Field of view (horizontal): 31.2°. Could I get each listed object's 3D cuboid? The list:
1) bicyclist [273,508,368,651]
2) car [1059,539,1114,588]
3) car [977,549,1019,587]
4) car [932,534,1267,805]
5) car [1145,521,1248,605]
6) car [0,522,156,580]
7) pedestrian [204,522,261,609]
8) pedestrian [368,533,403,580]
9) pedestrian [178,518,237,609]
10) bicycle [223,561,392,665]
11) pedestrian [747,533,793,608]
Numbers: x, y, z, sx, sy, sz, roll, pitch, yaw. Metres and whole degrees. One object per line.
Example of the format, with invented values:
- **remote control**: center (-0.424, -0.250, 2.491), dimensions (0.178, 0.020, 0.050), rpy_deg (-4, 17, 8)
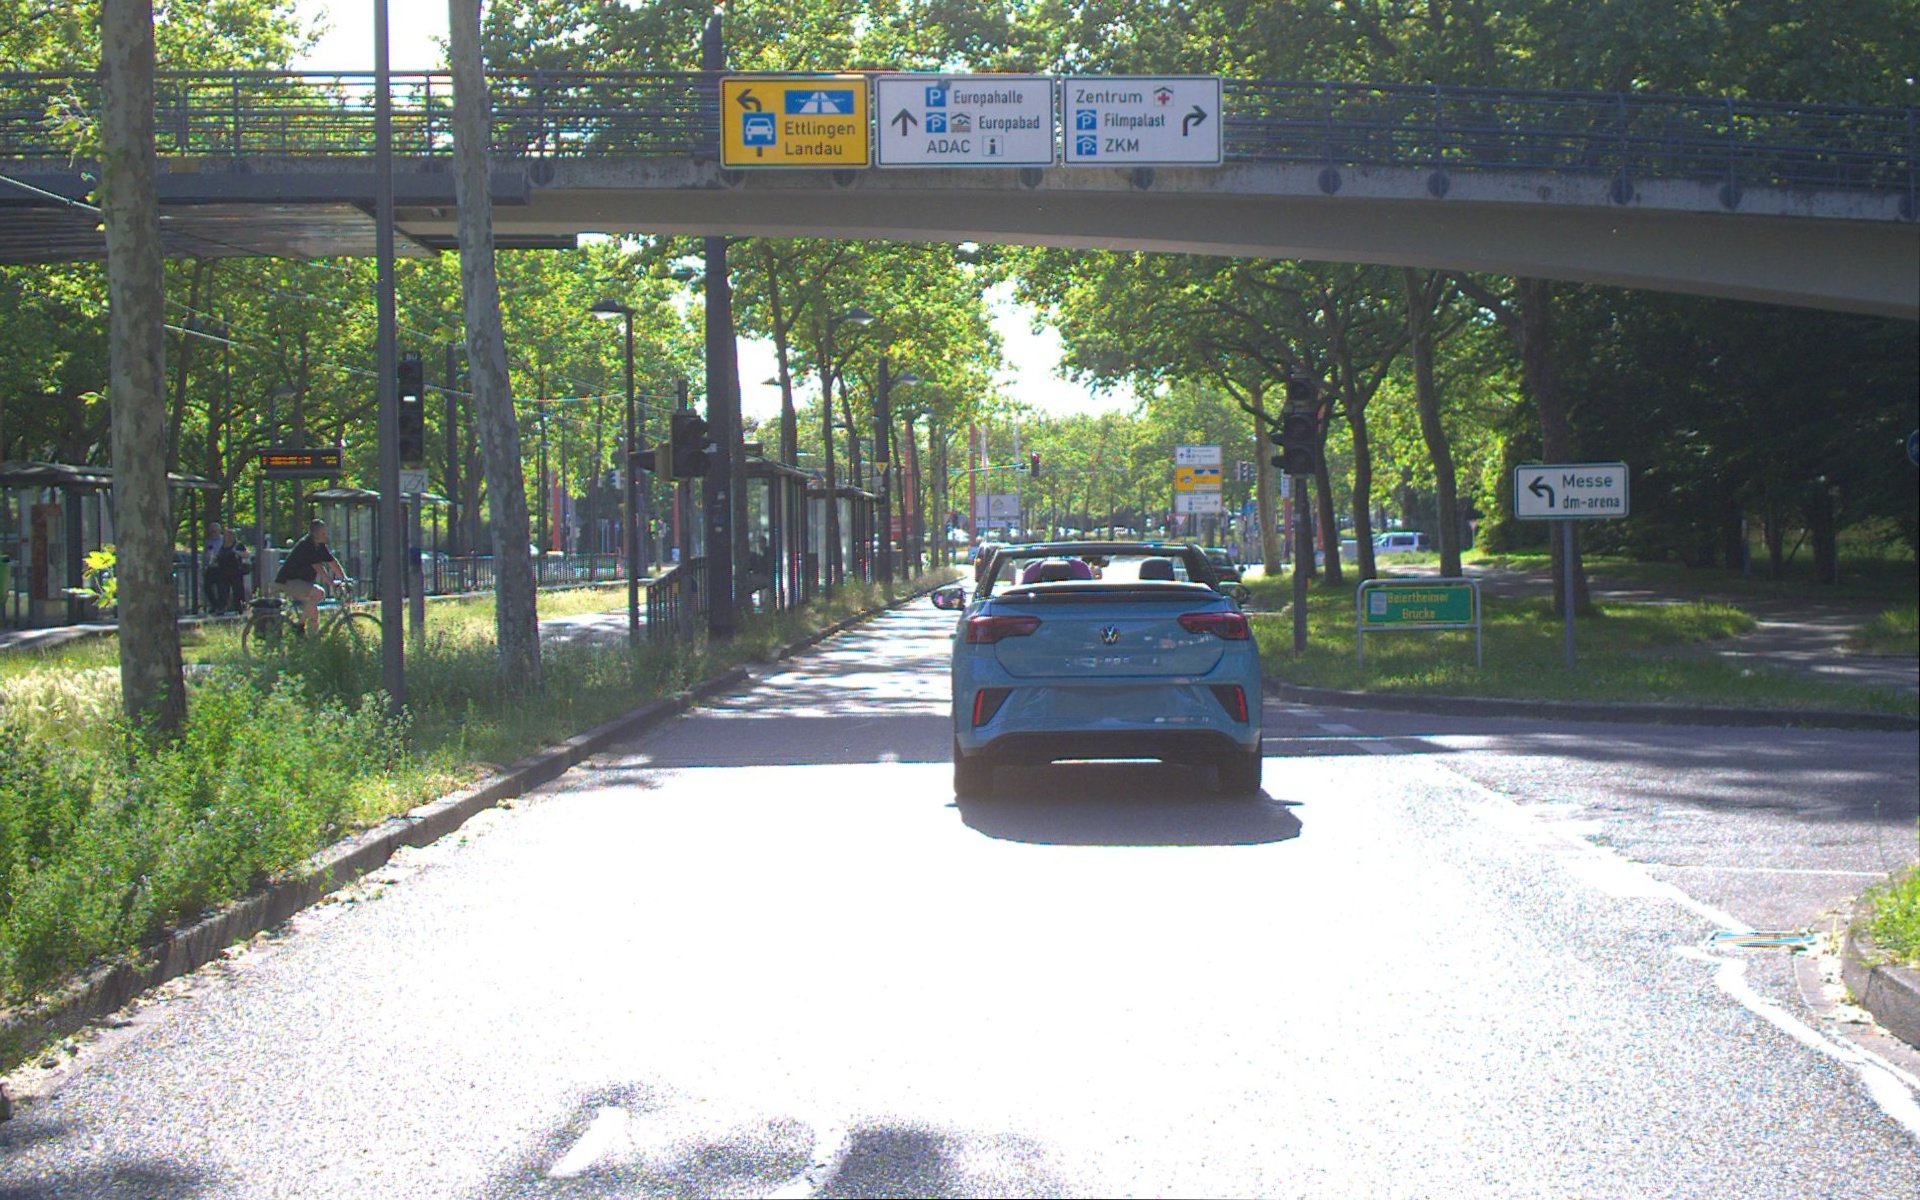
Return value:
- **bicyclist**: center (-7.482, -0.246, 40.254), dimensions (0.953, 1.626, 0.815), rpy_deg (1, 2, -3)
- **car**: center (4.070, -1.192, 110.955), dimensions (1.639, 1.489, 3.503), rpy_deg (1, 2, 0)
- **car**: center (1.598, -1.345, 145.255), dimensions (1.710, 1.598, 3.350), rpy_deg (0, 1, 0)
- **car**: center (0.752, 0.345, 21.001), dimensions (1.776, 1.478, 4.101), rpy_deg (0, 1, -1)
- **car**: center (5.178, -0.815, 75.712), dimensions (1.982, 1.786, 4.614), rpy_deg (1, 1, 1)
- **car**: center (-24.454, -1.359, 94.035), dimensions (1.899, 1.498, 4.489), rpy_deg (2, 2, 43)
- **pedestrian**: center (-12.913, -0.610, 61.045), dimensions (0.683, 1.508, 0.643), rpy_deg (-2, 1, 28)
- **pedestrian**: center (-14.335, -1.094, 85.806), dimensions (0.694, 1.123, 0.662), rpy_deg (-3, 0, 2)
- **pedestrian**: center (-13.646, -0.655, 62.348), dimensions (0.715, 1.629, 0.729), rpy_deg (-1, 1, 41)
- **bicycle**: center (-7.628, 0.147, 40.254), dimensions (1.831, 1.143, 0.815), rpy_deg (1, 2, -3)
- **pedestrian**: center (-3.183, -0.494, 57.611), dimensions (0.733, 1.248, 0.588), rpy_deg (1, 0, -5)
